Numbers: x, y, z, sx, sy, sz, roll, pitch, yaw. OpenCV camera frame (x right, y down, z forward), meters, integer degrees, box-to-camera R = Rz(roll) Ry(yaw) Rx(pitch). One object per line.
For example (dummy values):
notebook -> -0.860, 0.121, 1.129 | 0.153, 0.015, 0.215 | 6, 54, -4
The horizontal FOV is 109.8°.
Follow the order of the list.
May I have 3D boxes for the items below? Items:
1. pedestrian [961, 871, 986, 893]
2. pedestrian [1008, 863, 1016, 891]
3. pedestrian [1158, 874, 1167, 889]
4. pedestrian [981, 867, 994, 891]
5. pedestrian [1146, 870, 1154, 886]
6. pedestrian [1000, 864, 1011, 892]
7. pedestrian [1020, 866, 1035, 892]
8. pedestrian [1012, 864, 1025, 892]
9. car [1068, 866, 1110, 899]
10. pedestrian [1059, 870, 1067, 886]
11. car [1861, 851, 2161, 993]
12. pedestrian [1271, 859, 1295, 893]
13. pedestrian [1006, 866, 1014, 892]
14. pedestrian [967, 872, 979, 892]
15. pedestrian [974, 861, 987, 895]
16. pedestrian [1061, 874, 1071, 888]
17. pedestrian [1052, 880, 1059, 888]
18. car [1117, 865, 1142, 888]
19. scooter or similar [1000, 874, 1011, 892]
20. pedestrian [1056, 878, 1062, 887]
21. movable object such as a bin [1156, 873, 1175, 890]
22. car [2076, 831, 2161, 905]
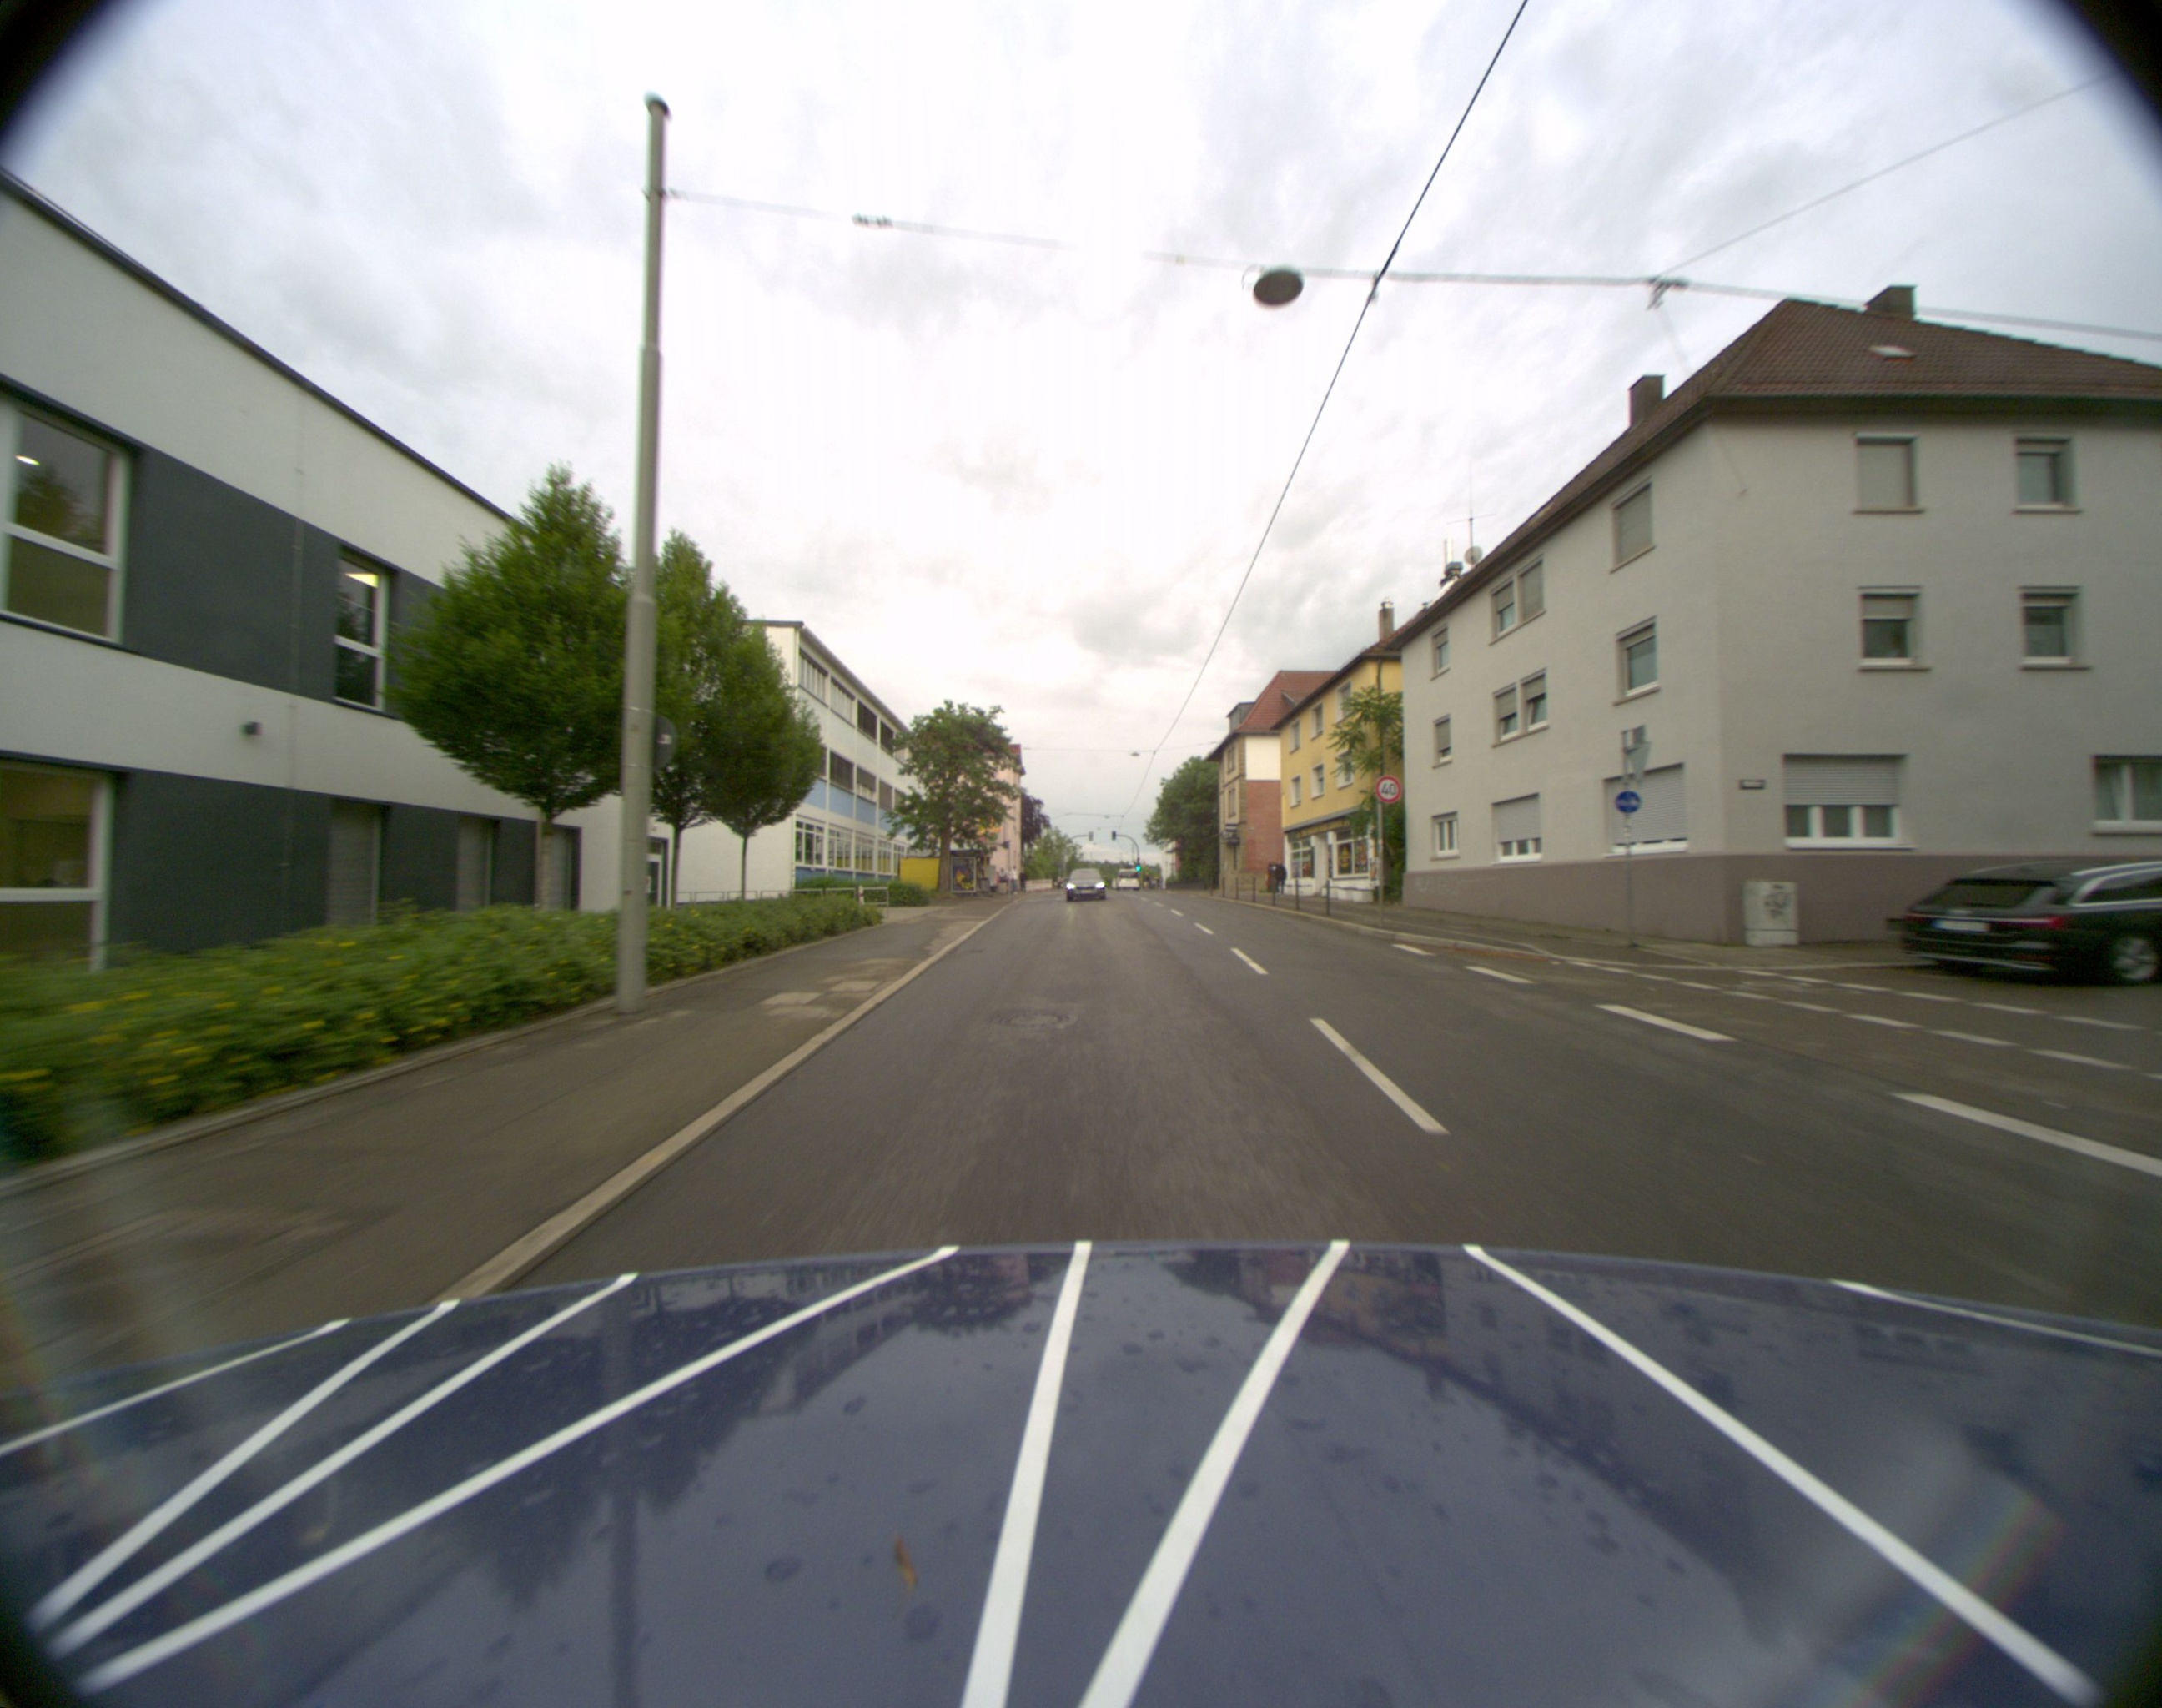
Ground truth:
pedestrian -> -6.198, 1.608, 43.867 | 1.359, 1.265, 0.741 | 1, -1, -5
pedestrian -> -4.555, 1.547, 50.299 | 0.460, 1.829, 0.604 | 2, -1, -5
pedestrian -> 9.873, 3.346, 92.104 | 0.808, 1.810, 1.117 | -1, -3, 0
pedestrian -> -6.526, 1.731, 53.014 | 0.676, 1.615, 0.623 | 3, -1, -29
pedestrian -> 8.437, 2.956, 93.408 | 0.864, 1.870, 1.044 | 0, -3, -2
pedestrian -> -4.790, 1.538, 48.128 | 0.662, 1.731, 0.829 | 1, -1, -5
pedestrian -> -3.676, 1.712, 52.043 | 0.638, 1.699, 0.747 | 3, -1, -34
pedestrian -> -4.252, 1.620, 51.662 | 0.486, 1.863, 0.634 | 1, -1, 31
car -> 0.387, 1.362, 35.574 | 1.837, 1.429, 4.003 | -1, -3, 1
pedestrian -> -1.896, 2.555, 81.188 | 0.786, 1.632, 1.222 | -2, -1, 0
car -> 13.258, 0.799, 9.943 | 3.997, 1.444, 2.000 | -4, -1, -1
pedestrian -> 9.952, 1.077, 37.491 | 0.817, 1.669, 0.993 | -2, 0, -2
pedestrian -> -4.743, 1.665, 50.982 | 0.447, 1.697, 0.557 | 2, -1, -4
pedestrian -> -6.431, 1.686, 45.401 | 0.662, 1.191, 0.741 | 1, -1, -5
pedestrian -> -5.496, 1.310, 41.384 | 0.648, 1.820, 0.741 | 1, -1, -5
pedestrian -> -1.644, 2.982, 83.614 | 0.876, 1.551, 1.050 | -2, -1, 6
pedestrian -> -4.687, 5.531, 140.366 | 1.070, 1.321, 0.808 | 1, -3, -32
car -> 4.081, 1.876, 64.929 | 1.886, 1.858, 4.453 | 0, -1, 0
scooter or similar -> -4.715, 1.808, 47.475 | 0.619, 1.133, 0.567 | 1, -1, -5
pedestrian -> -3.850, 4.918, 131.222 | 0.922, 1.537, 0.544 | 1, -3, -32
movable object such as a bin -> 20.431, 6.685, 184.230 | 2.952, 3.819, 8.142 | -2, -3, 18
car -> 23.418, 0.257, 15.190 | 1.802, 1.511, 4.000 | -3, 0, 1
